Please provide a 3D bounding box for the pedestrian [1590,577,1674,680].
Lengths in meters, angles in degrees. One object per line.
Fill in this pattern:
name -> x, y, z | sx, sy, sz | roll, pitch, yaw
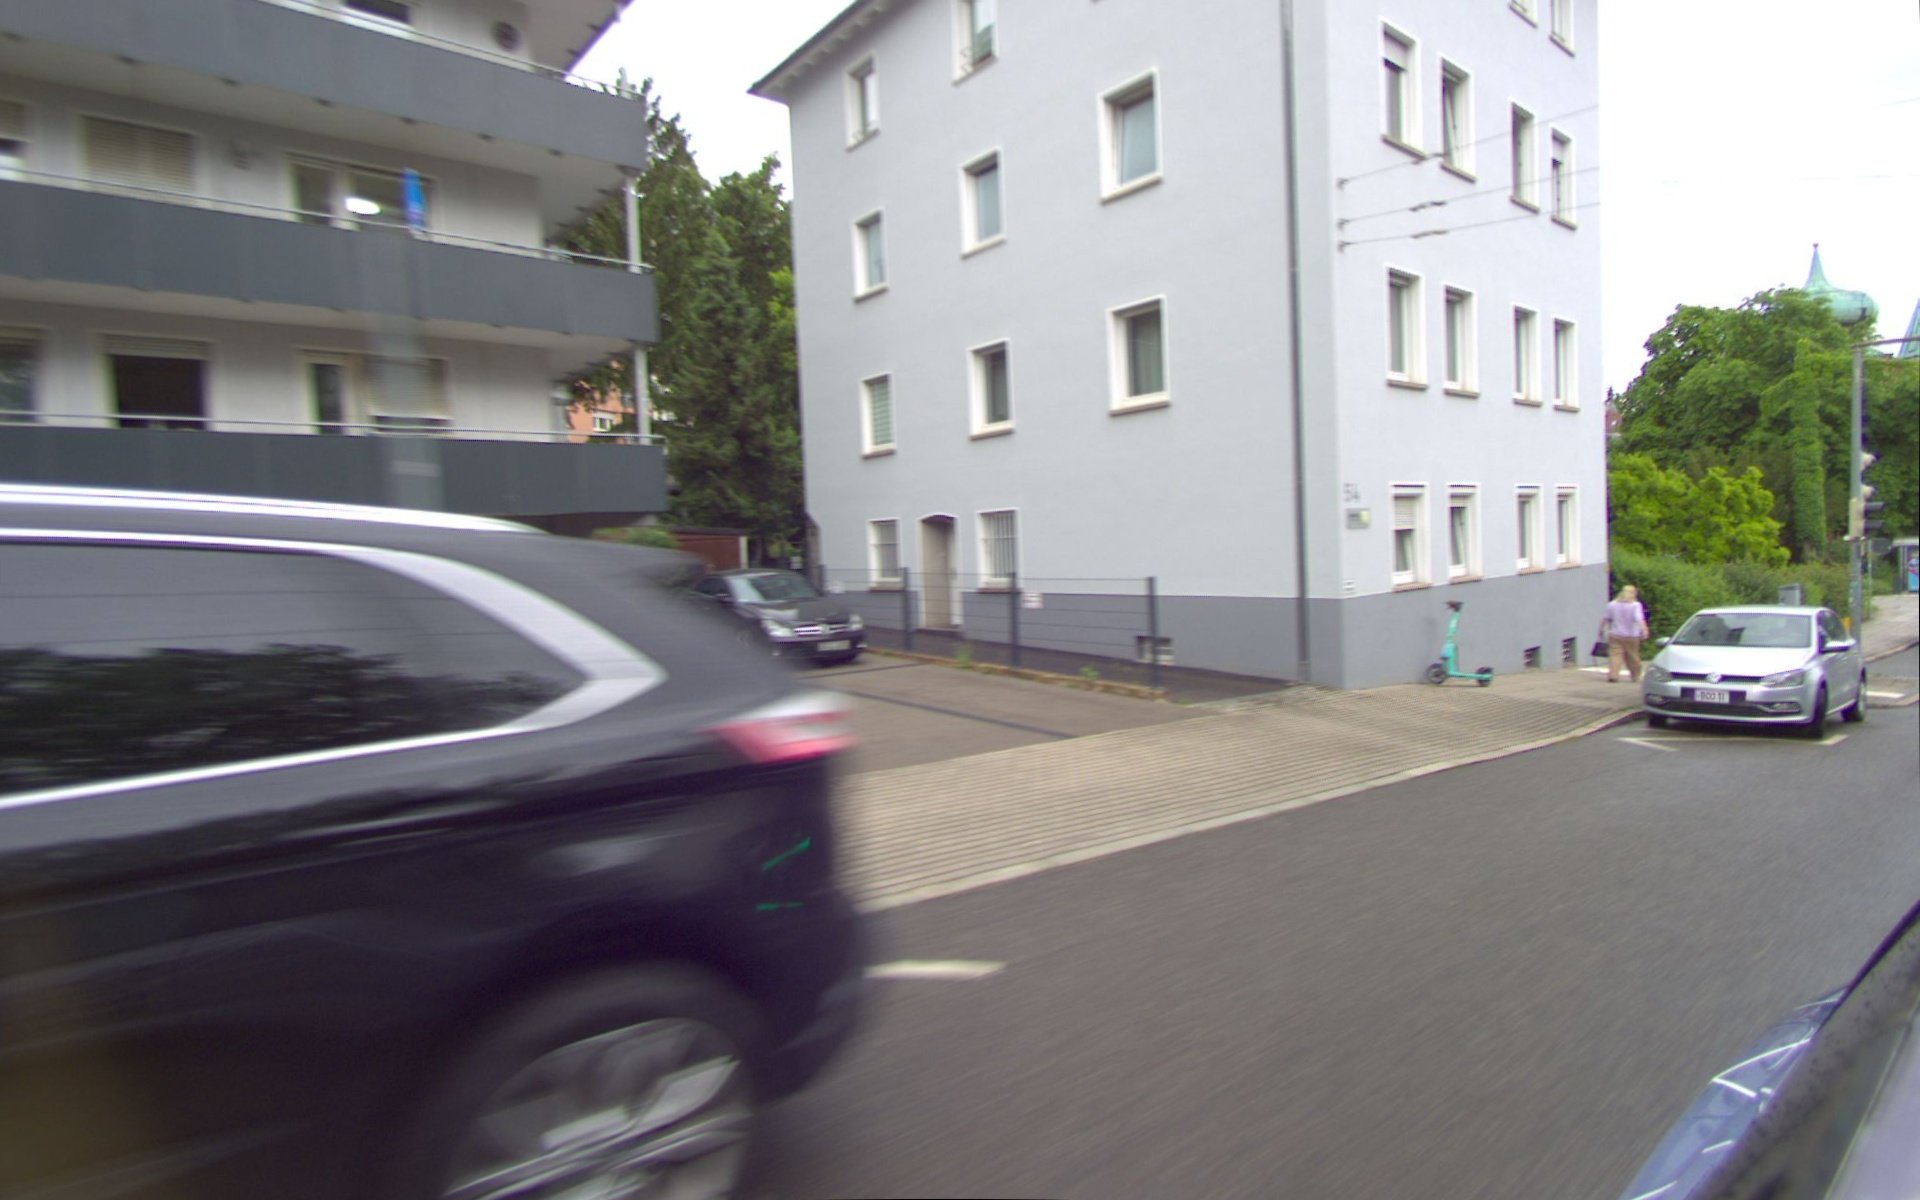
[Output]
pedestrian -> 10.882, 0.442, 16.398 | 0.786, 1.603, 0.885 | 2, 0, -38

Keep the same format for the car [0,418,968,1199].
car -> -2.350, 0.598, 1.810 | 4.608, 1.662, 1.909 | -1, 0, -41

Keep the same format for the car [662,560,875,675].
car -> -3.210, 0.146, 16.215 | 1.784, 1.449, 4.387 | -3, 5, -33

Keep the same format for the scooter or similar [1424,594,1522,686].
scooter or similar -> 7.424, 0.547, 14.629 | 1.579, 1.265, 0.576 | 0, 0, -35

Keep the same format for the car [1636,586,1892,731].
car -> 9.887, 0.599, 12.342 | 4.030, 1.451, 1.707 | -1, 0, -41

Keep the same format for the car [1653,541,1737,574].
car -> 41.923, -2.434, 57.854 | 1.809, 1.715, 4.201 | -3, 3, 3
